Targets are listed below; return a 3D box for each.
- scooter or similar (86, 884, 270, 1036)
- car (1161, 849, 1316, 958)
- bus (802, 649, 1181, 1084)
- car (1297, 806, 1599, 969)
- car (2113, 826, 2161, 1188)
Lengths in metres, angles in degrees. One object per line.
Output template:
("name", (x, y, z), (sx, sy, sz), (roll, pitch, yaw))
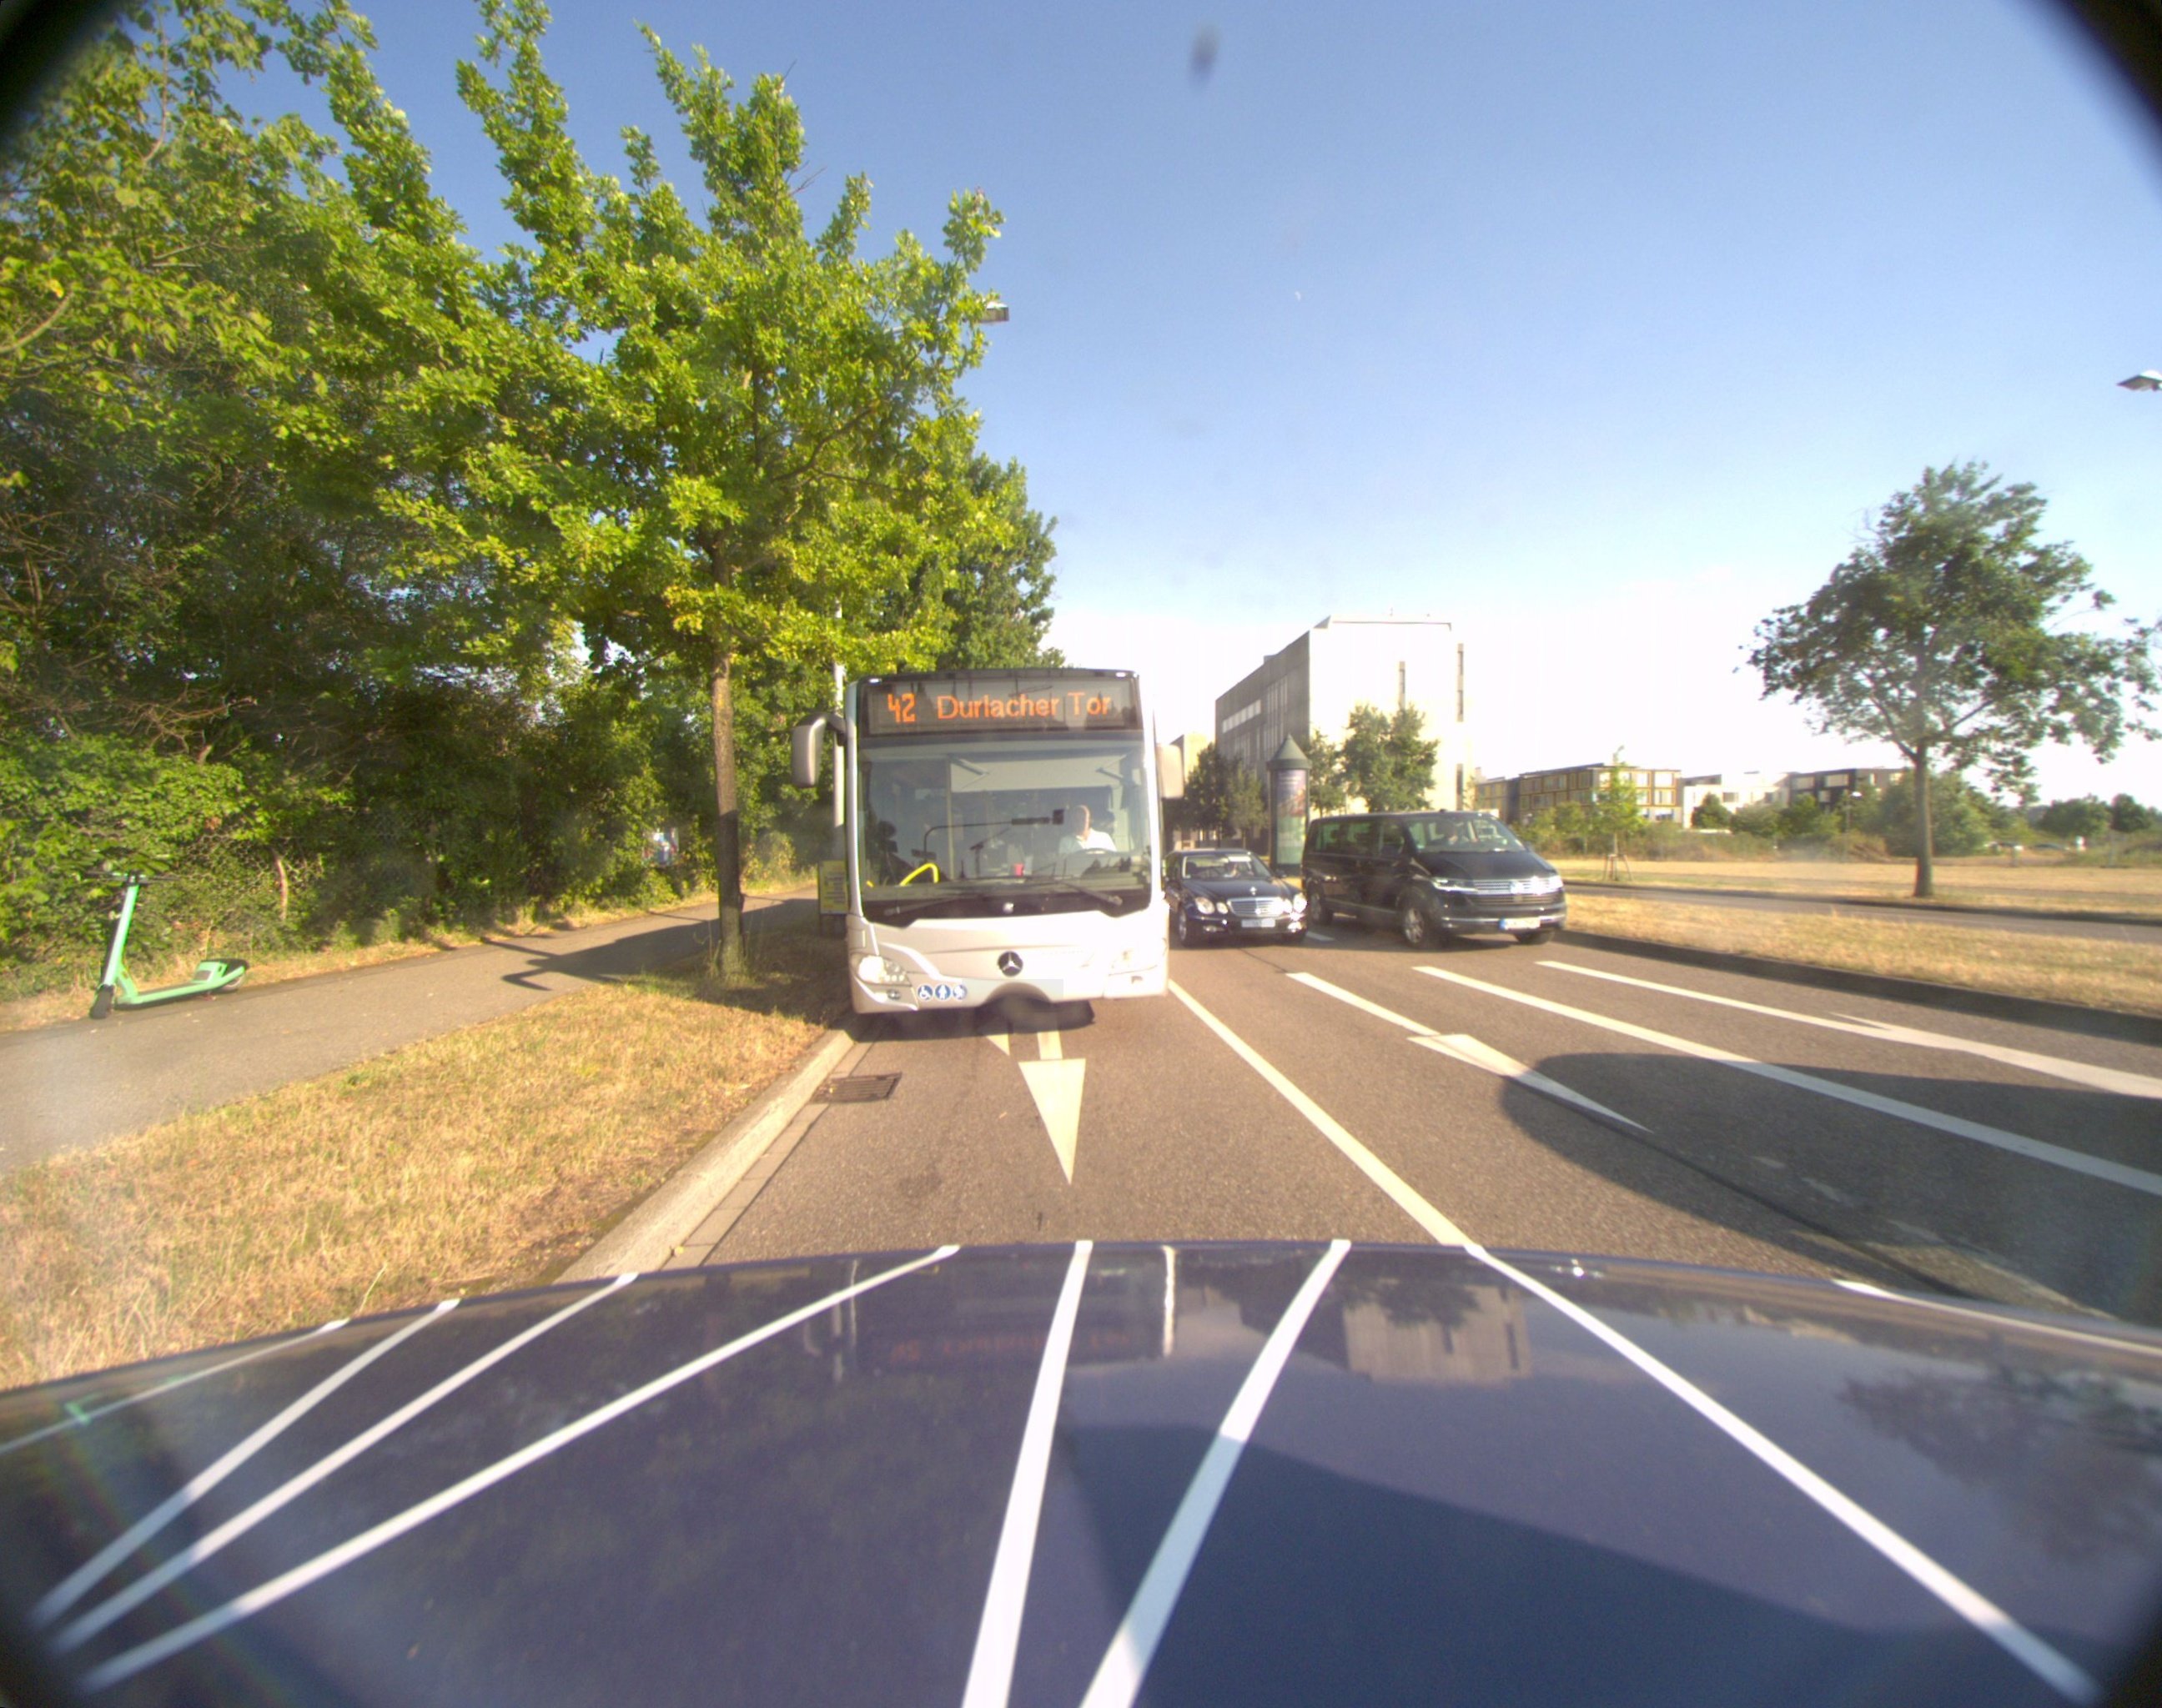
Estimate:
("scooter or similar", (-7.626, 0.851, 6.468), (0.249, 1.120, 1.095), (2, 1, 0))
("car", (2.370, 0.662, 12.578), (1.810, 1.428, 4.494), (-1, 1, 3))
("bus", (-0.868, 0.005, 11.248), (2.595, 3.025, 11.714), (-2, 1, -3))
("car", (5.195, 0.356, 11.737), (1.862, 1.921, 5.010), (-2, 1, -5))
("car", (5.780, 0.673, 1.221), (1.740, 1.590, 4.674), (-2, 1, -5))
